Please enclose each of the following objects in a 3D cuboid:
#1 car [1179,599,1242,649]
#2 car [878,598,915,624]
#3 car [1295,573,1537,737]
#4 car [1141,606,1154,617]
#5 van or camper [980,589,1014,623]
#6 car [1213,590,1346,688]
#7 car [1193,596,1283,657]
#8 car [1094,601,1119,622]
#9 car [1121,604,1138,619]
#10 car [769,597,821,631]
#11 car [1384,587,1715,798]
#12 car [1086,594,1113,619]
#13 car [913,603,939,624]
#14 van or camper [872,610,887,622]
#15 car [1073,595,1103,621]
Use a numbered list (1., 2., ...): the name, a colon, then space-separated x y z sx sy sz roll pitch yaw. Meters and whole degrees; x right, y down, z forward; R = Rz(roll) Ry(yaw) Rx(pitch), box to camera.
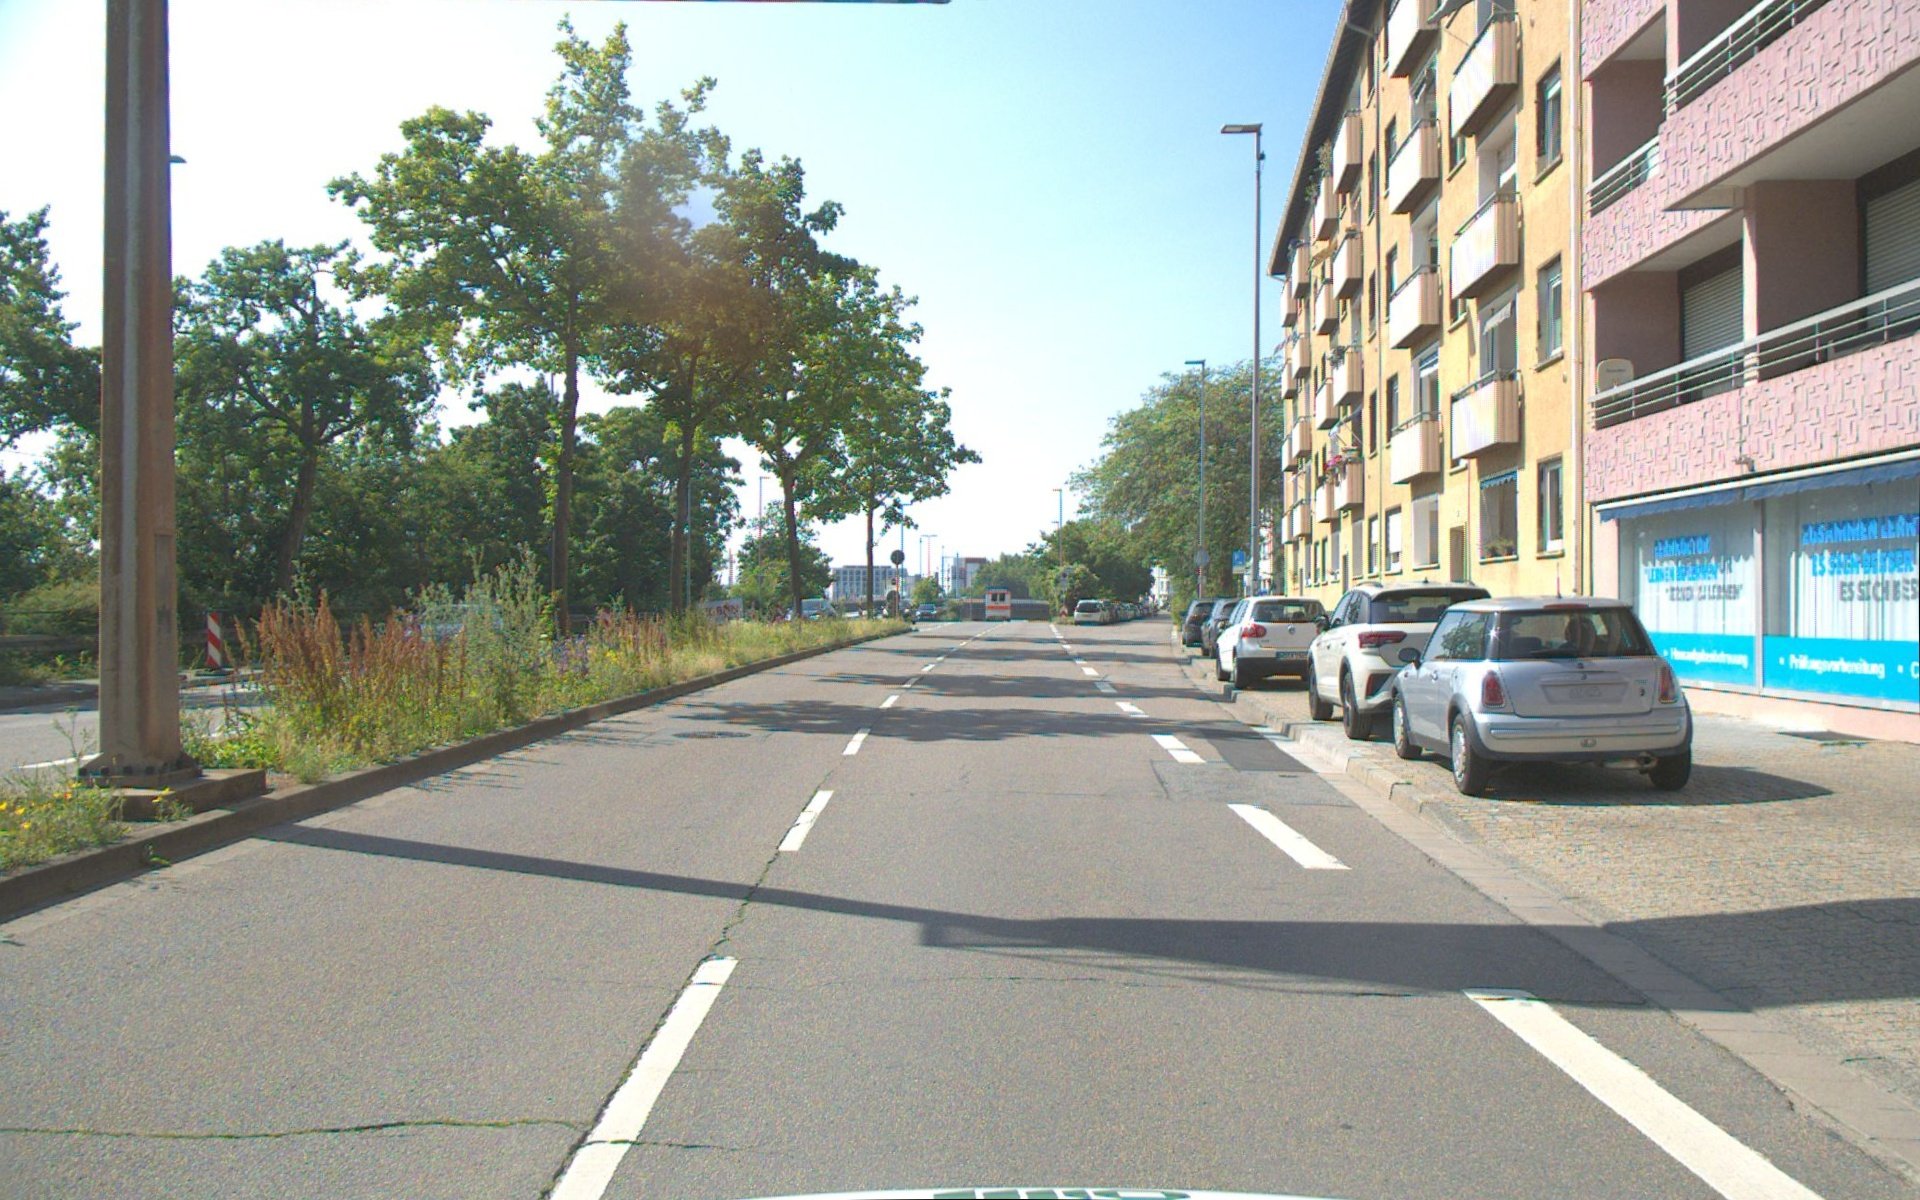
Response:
1. car: 7.897 0.730 52.506 1.674 1.487 4.258 0 0 5
2. car: -3.765 0.655 98.400 1.726 1.500 4.087 -1 0 4
3. car: 4.835 0.537 18.143 1.699 1.568 4.356 -1 0 4
4. car: 27.913 1.675 246.009 1.951 1.686 4.003 0 0 7
5. van or camper: 3.153 0.544 140.710 2.247 2.838 5.575 0 0 8
6. car: 5.404 0.613 28.418 1.719 1.532 4.130 -1 0 4
7. car: 6.996 0.634 41.977 1.762 1.463 4.592 -1 0 3
8. car: 11.124 0.827 125.070 1.628 1.499 3.792 2 0 8
9. car: 18.849 1.301 183.525 1.628 1.536 4.011 2 0 8
10. car: -7.712 0.637 77.478 1.760 1.557 4.002 0 0 4
11. car: 4.601 0.651 13.412 1.643 1.433 3.432 -2 0 4
12. car: 9.232 0.409 109.498 1.734 1.607 4.188 -1 0 5
13. car: -2.925 1.152 143.245 1.952 1.764 4.731 0 0 3
14. van or camper: -9.281 1.817 190.811 1.436 1.373 4.631 0 0 2
15. car: 7.709 0.466 99.506 1.585 1.532 3.464 -1 0 8
